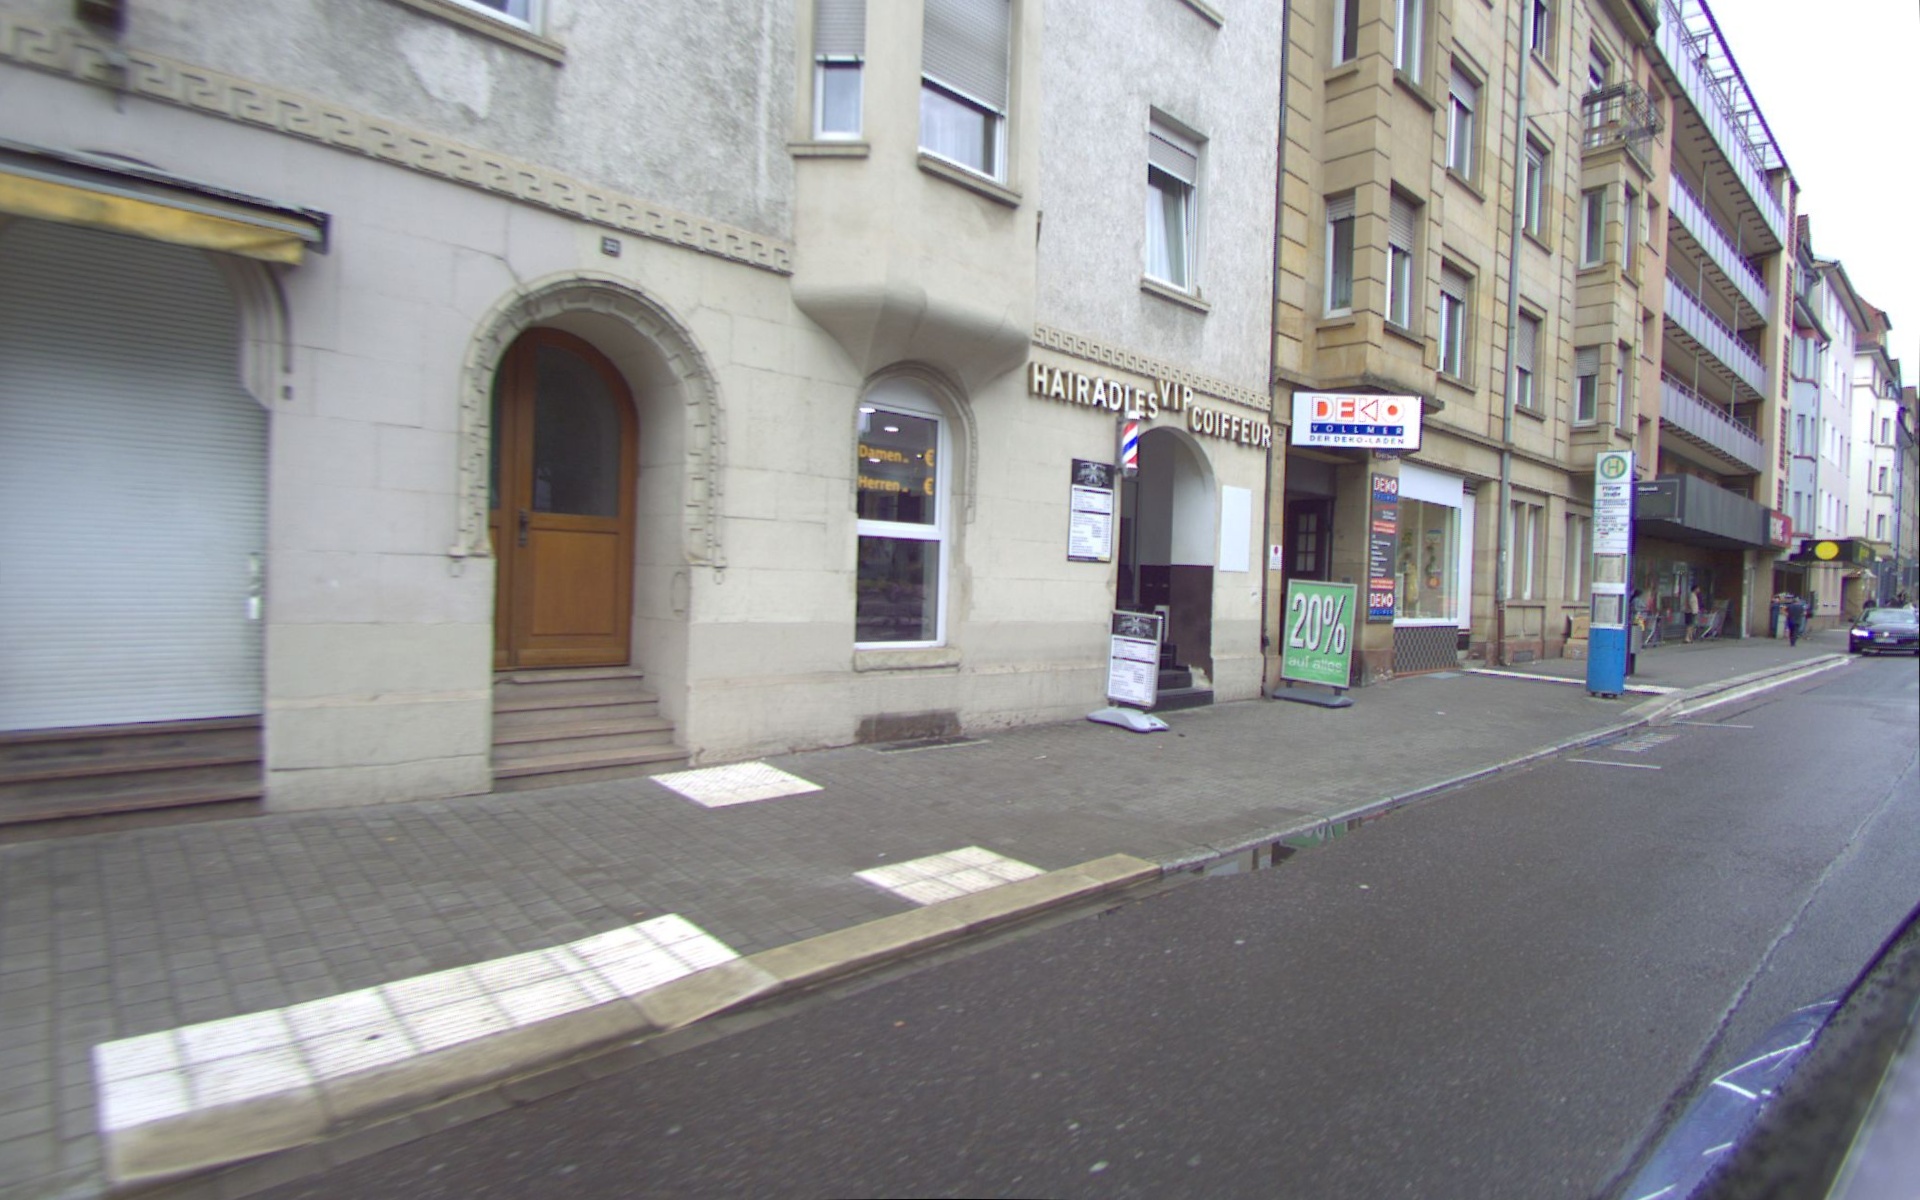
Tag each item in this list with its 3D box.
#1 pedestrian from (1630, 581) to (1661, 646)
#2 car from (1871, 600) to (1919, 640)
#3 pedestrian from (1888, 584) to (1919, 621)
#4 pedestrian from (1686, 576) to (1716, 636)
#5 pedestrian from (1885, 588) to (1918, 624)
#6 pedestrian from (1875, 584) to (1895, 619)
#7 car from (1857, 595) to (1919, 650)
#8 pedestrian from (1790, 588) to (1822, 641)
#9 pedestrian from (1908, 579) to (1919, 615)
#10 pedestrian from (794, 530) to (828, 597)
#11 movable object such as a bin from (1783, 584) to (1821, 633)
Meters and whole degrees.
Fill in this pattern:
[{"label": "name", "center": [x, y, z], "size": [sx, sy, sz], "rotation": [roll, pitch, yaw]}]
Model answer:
[{"label": "pedestrian", "center": [16.972, 0.321, 25.058], "size": [0.558, 1.592, 0.621], "rotation": [1, 1, 30]}, {"label": "car", "center": [33.543, 0.664, 35.645], "size": [3.702, 1.327, 1.737], "rotation": [-1, 0, -42]}, {"label": "pedestrian", "center": [47.208, 0.124, 50.409], "size": [0.837, 1.770, 1.065], "rotation": [2, 2, -5]}, {"label": "pedestrian", "center": [23.305, 0.176, 31.841], "size": [0.714, 1.882, 0.597], "rotation": [-1, 1, -40]}, {"label": "pedestrian", "center": [44.437, 0.277, 47.768], "size": [0.767, 1.667, 0.705], "rotation": [2, 2, -9]}, {"label": "pedestrian", "center": [47.353, 0.063, 51.818], "size": [0.686, 1.770, 0.610], "rotation": [0, 3, -43]}, {"label": "car", "center": [29.293, 0.647, 31.474], "size": [3.914, 1.566, 1.732], "rotation": [-1, 2, -43]}, {"label": "pedestrian", "center": [28.114, 0.471, 33.621], "size": [0.736, 1.671, 0.626], "rotation": [1, 4, -43]}, {"label": "pedestrian", "center": [44.660, -0.121, 46.859], "size": [0.767, 1.667, 0.705], "rotation": [2, 2, -9]}, {"label": "pedestrian", "center": [-2.717, -0.661, 18.436], "size": [0.517, 1.180, 0.475], "rotation": [-1, -1, -17]}, {"label": "movable object such as a bin", "center": [32.365, 0.306, 38.901], "size": [1.000, 1.815, 1.275], "rotation": [2, 2, 45]}]
